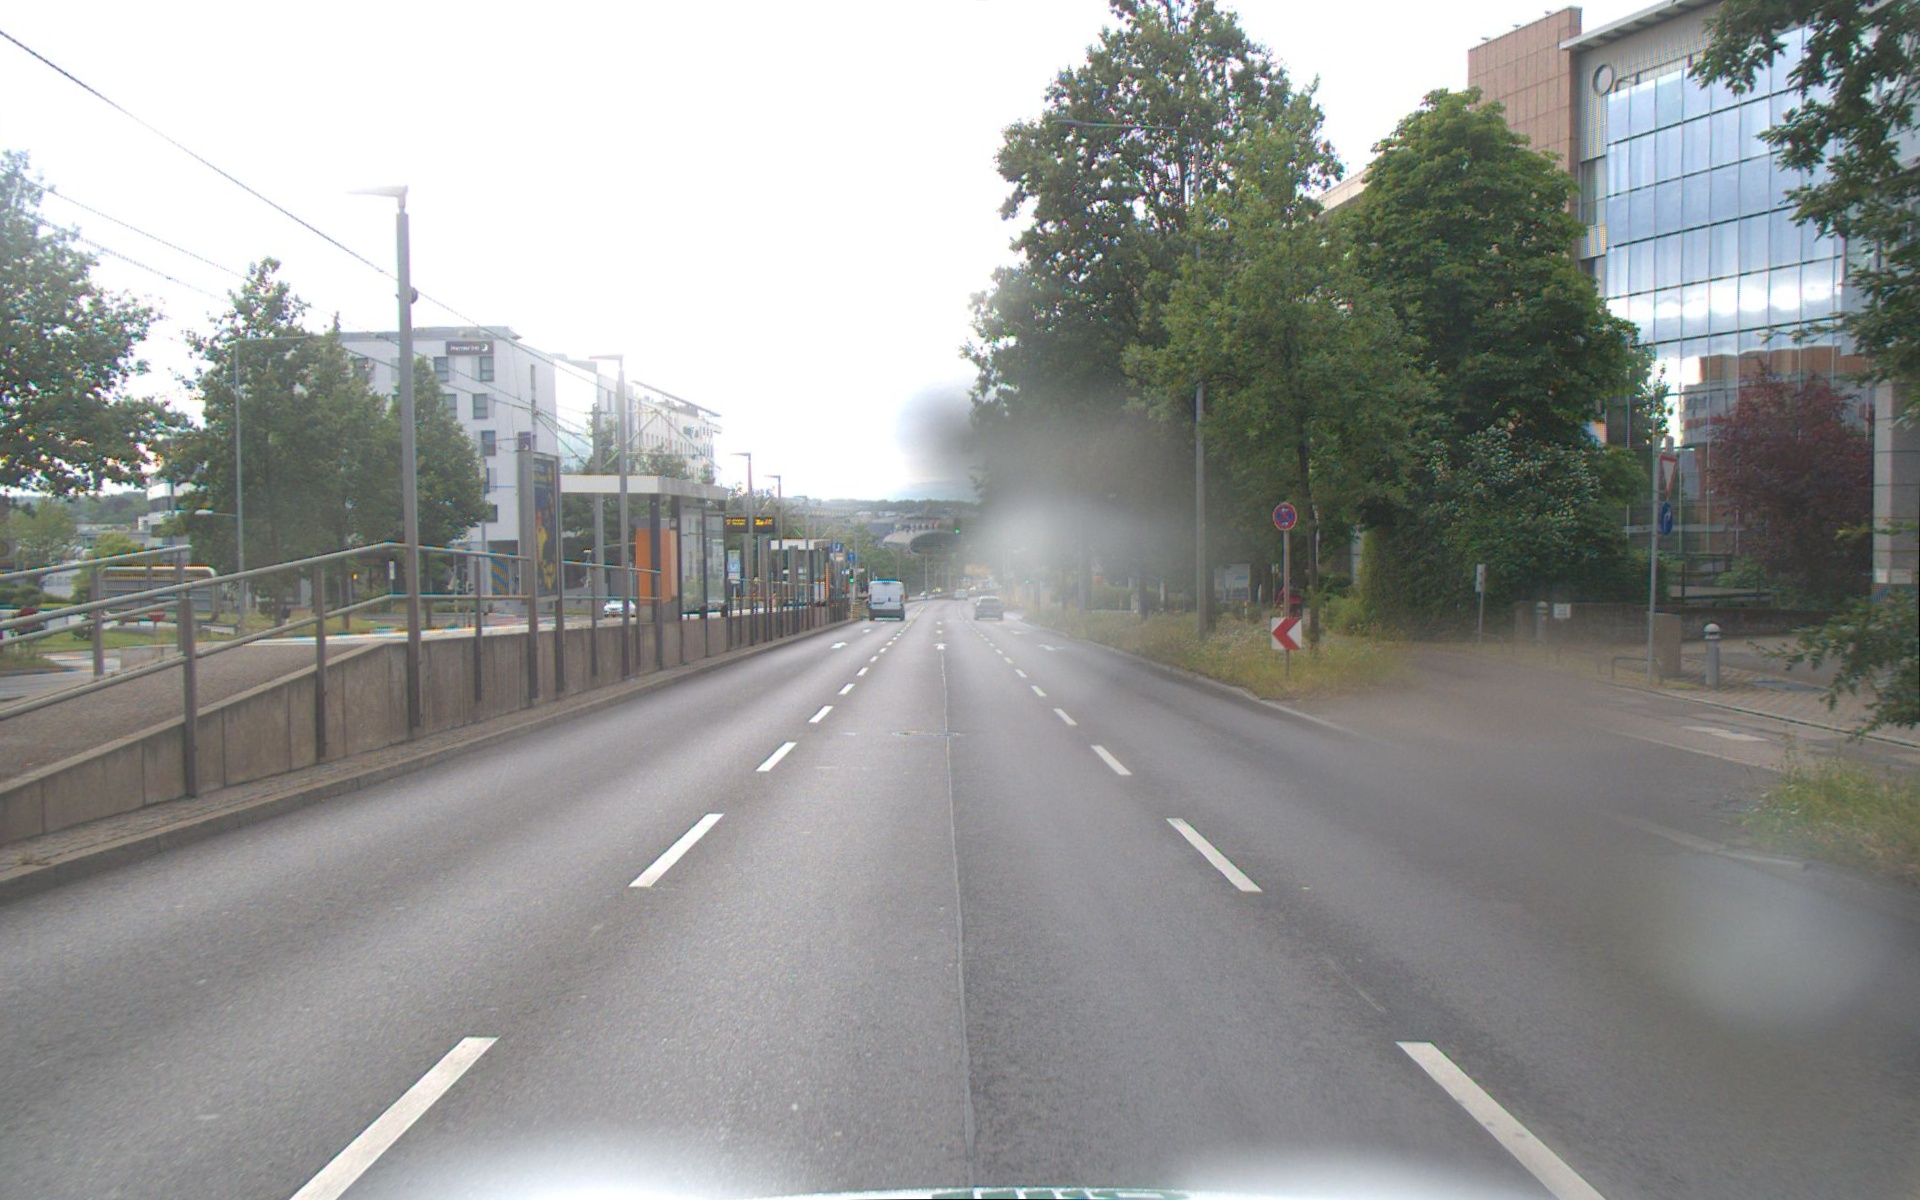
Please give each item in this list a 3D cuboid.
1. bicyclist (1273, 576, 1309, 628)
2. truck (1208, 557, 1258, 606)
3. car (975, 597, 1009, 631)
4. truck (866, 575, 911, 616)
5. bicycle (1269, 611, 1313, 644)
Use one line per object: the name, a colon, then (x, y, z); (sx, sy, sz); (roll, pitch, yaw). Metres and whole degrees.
bicyclist: (8.592, 0.056, 42.939); (0.642, 1.310, 1.219); (1, 0, -1)
truck: (14.570, -0.956, 88.482); (1.712, 2.562, 3.997); (1, 0, -4)
car: (1.999, 0.842, 101.341); (1.952, 2.049, 3.935); (1, 0, 3)
truck: (-4.155, -0.223, 96.849); (2.311, 2.301, 5.306); (1, 0, 1)
bicycle: (8.580, 0.696, 42.943); (0.654, 0.823, 2.318); (1, 0, -1)
